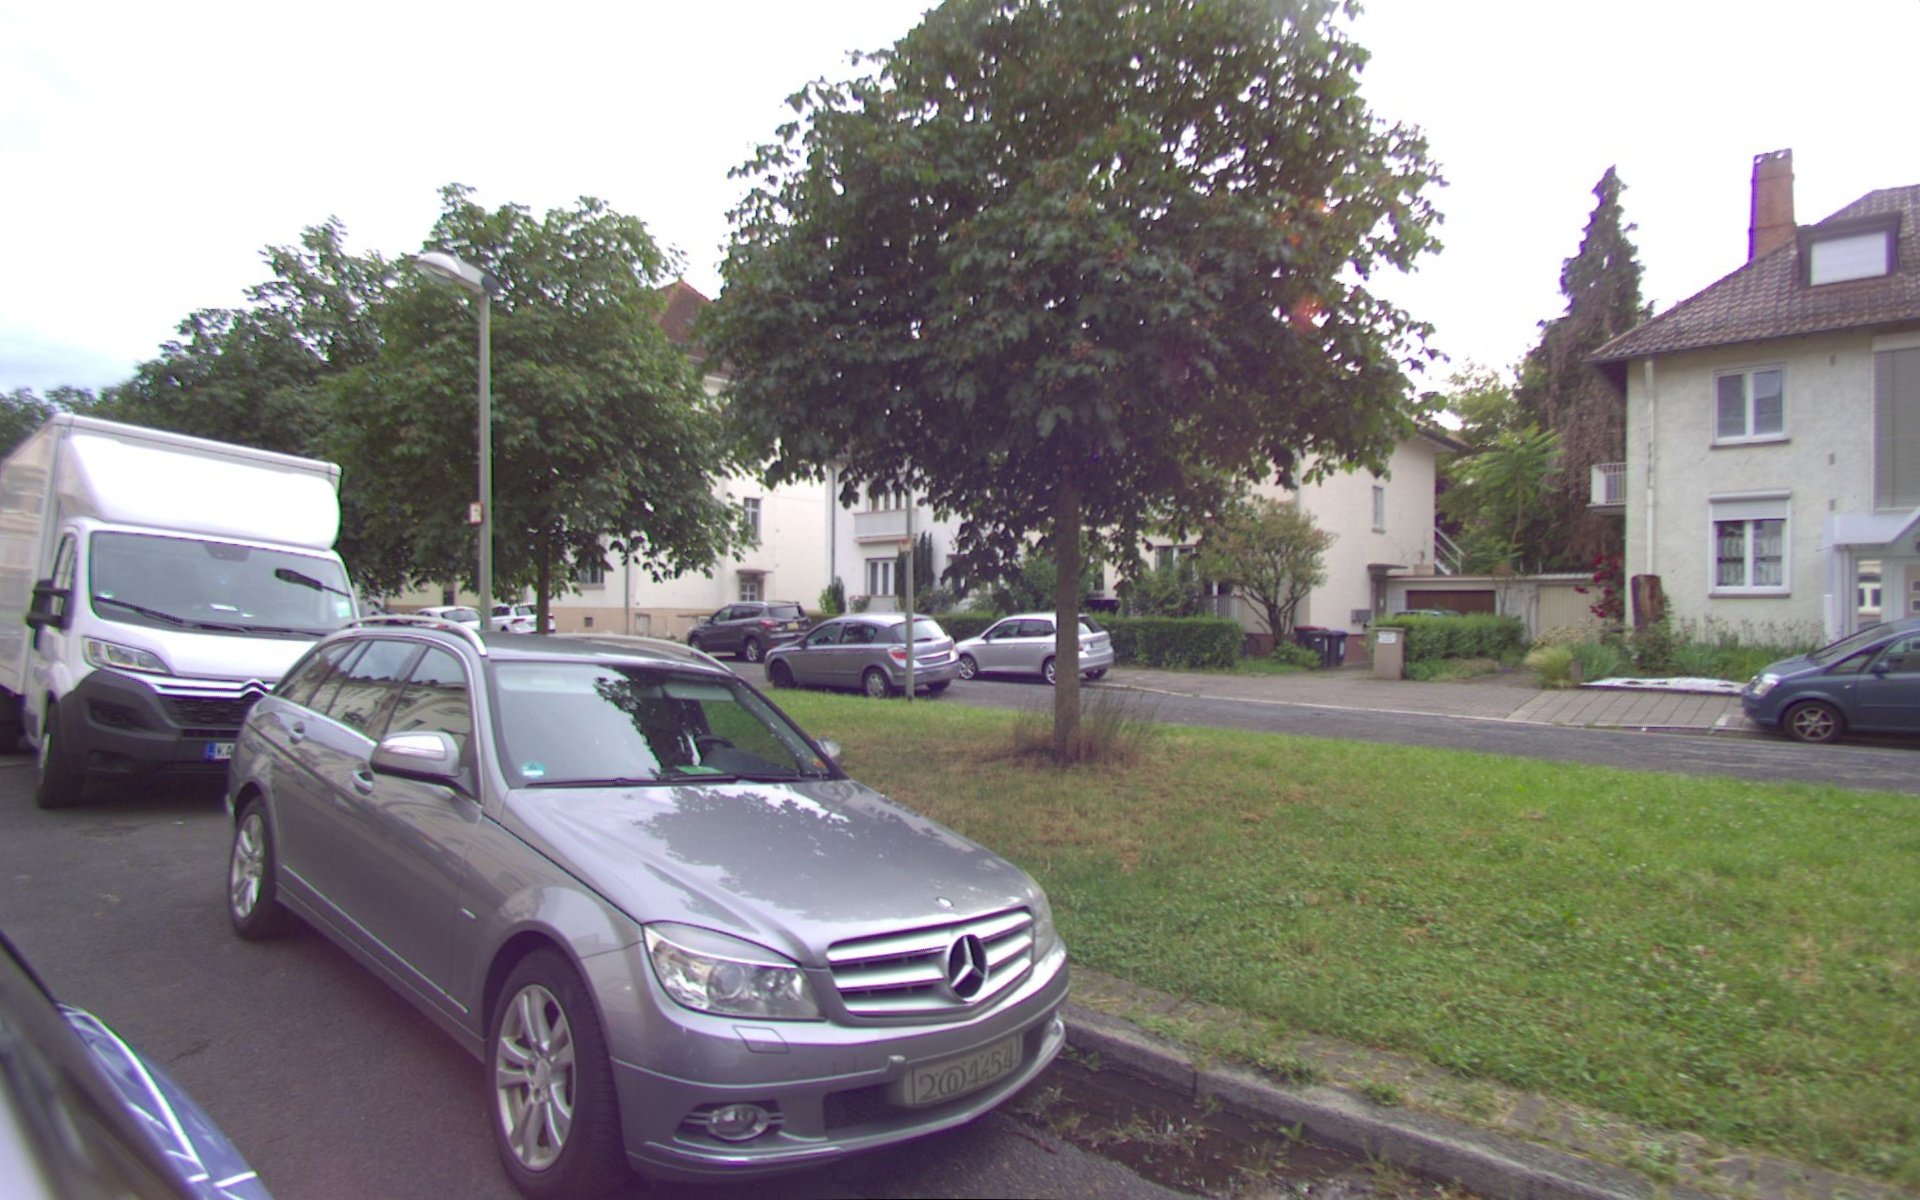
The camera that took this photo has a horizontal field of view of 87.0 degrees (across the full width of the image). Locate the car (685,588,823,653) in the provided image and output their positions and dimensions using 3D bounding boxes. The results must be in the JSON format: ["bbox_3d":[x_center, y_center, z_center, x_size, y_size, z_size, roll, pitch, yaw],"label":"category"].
[{"bbox_3d":[-6.001,0.532,29.319,4.099,1.686,1.781,0,3,42],"label":"car"}]

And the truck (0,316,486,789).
[{"bbox_3d":[-7.395,-0.174,9.593,7.109,2.979,2.412,0,-6,42],"label":"truck"}]

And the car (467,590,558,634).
[{"bbox_3d":[-17.642,0.448,39.807,4.005,1.619,1.780,0,0,42],"label":"car"}]

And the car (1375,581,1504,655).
[{"bbox_3d":[12.554,0.406,26.397,2.000,1.741,3.945,0,1,42],"label":"car"}]

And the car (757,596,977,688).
[{"bbox_3d":[-1.779,0.682,18.579,4.005,1.499,1.780,0,0,42],"label":"car"}]

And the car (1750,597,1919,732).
[{"bbox_3d":[12.553,0.789,12.887,3.882,1.614,1.697,0,1,40],"label":"car"}]

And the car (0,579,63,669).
[{"bbox_3d":[-17.933,0.407,18.520,4.147,1.526,1.623,0,-1,40],"label":"car"}]

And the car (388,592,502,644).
[{"bbox_3d":[-15.733,0.512,30.866,4.005,1.499,1.780,0,0,42],"label":"car"}]

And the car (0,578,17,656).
[{"bbox_3d":[-23.471,0.329,23.409,4.311,1.721,1.762,0,-5,40],"label":"car"}]

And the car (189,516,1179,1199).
[{"bbox_3d":[-1.519,0.650,4.162,4.446,1.469,1.693,0,-6,42],"label":"car"}]

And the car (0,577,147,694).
[{"bbox_3d":[-13.846,0.527,15.226,4.147,1.526,1.623,0,-5,40],"label":"car"}]

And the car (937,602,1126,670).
[{"bbox_3d":[1.520,0.729,22.444,3.940,1.365,1.780,0,0,42],"label":"car"}]
